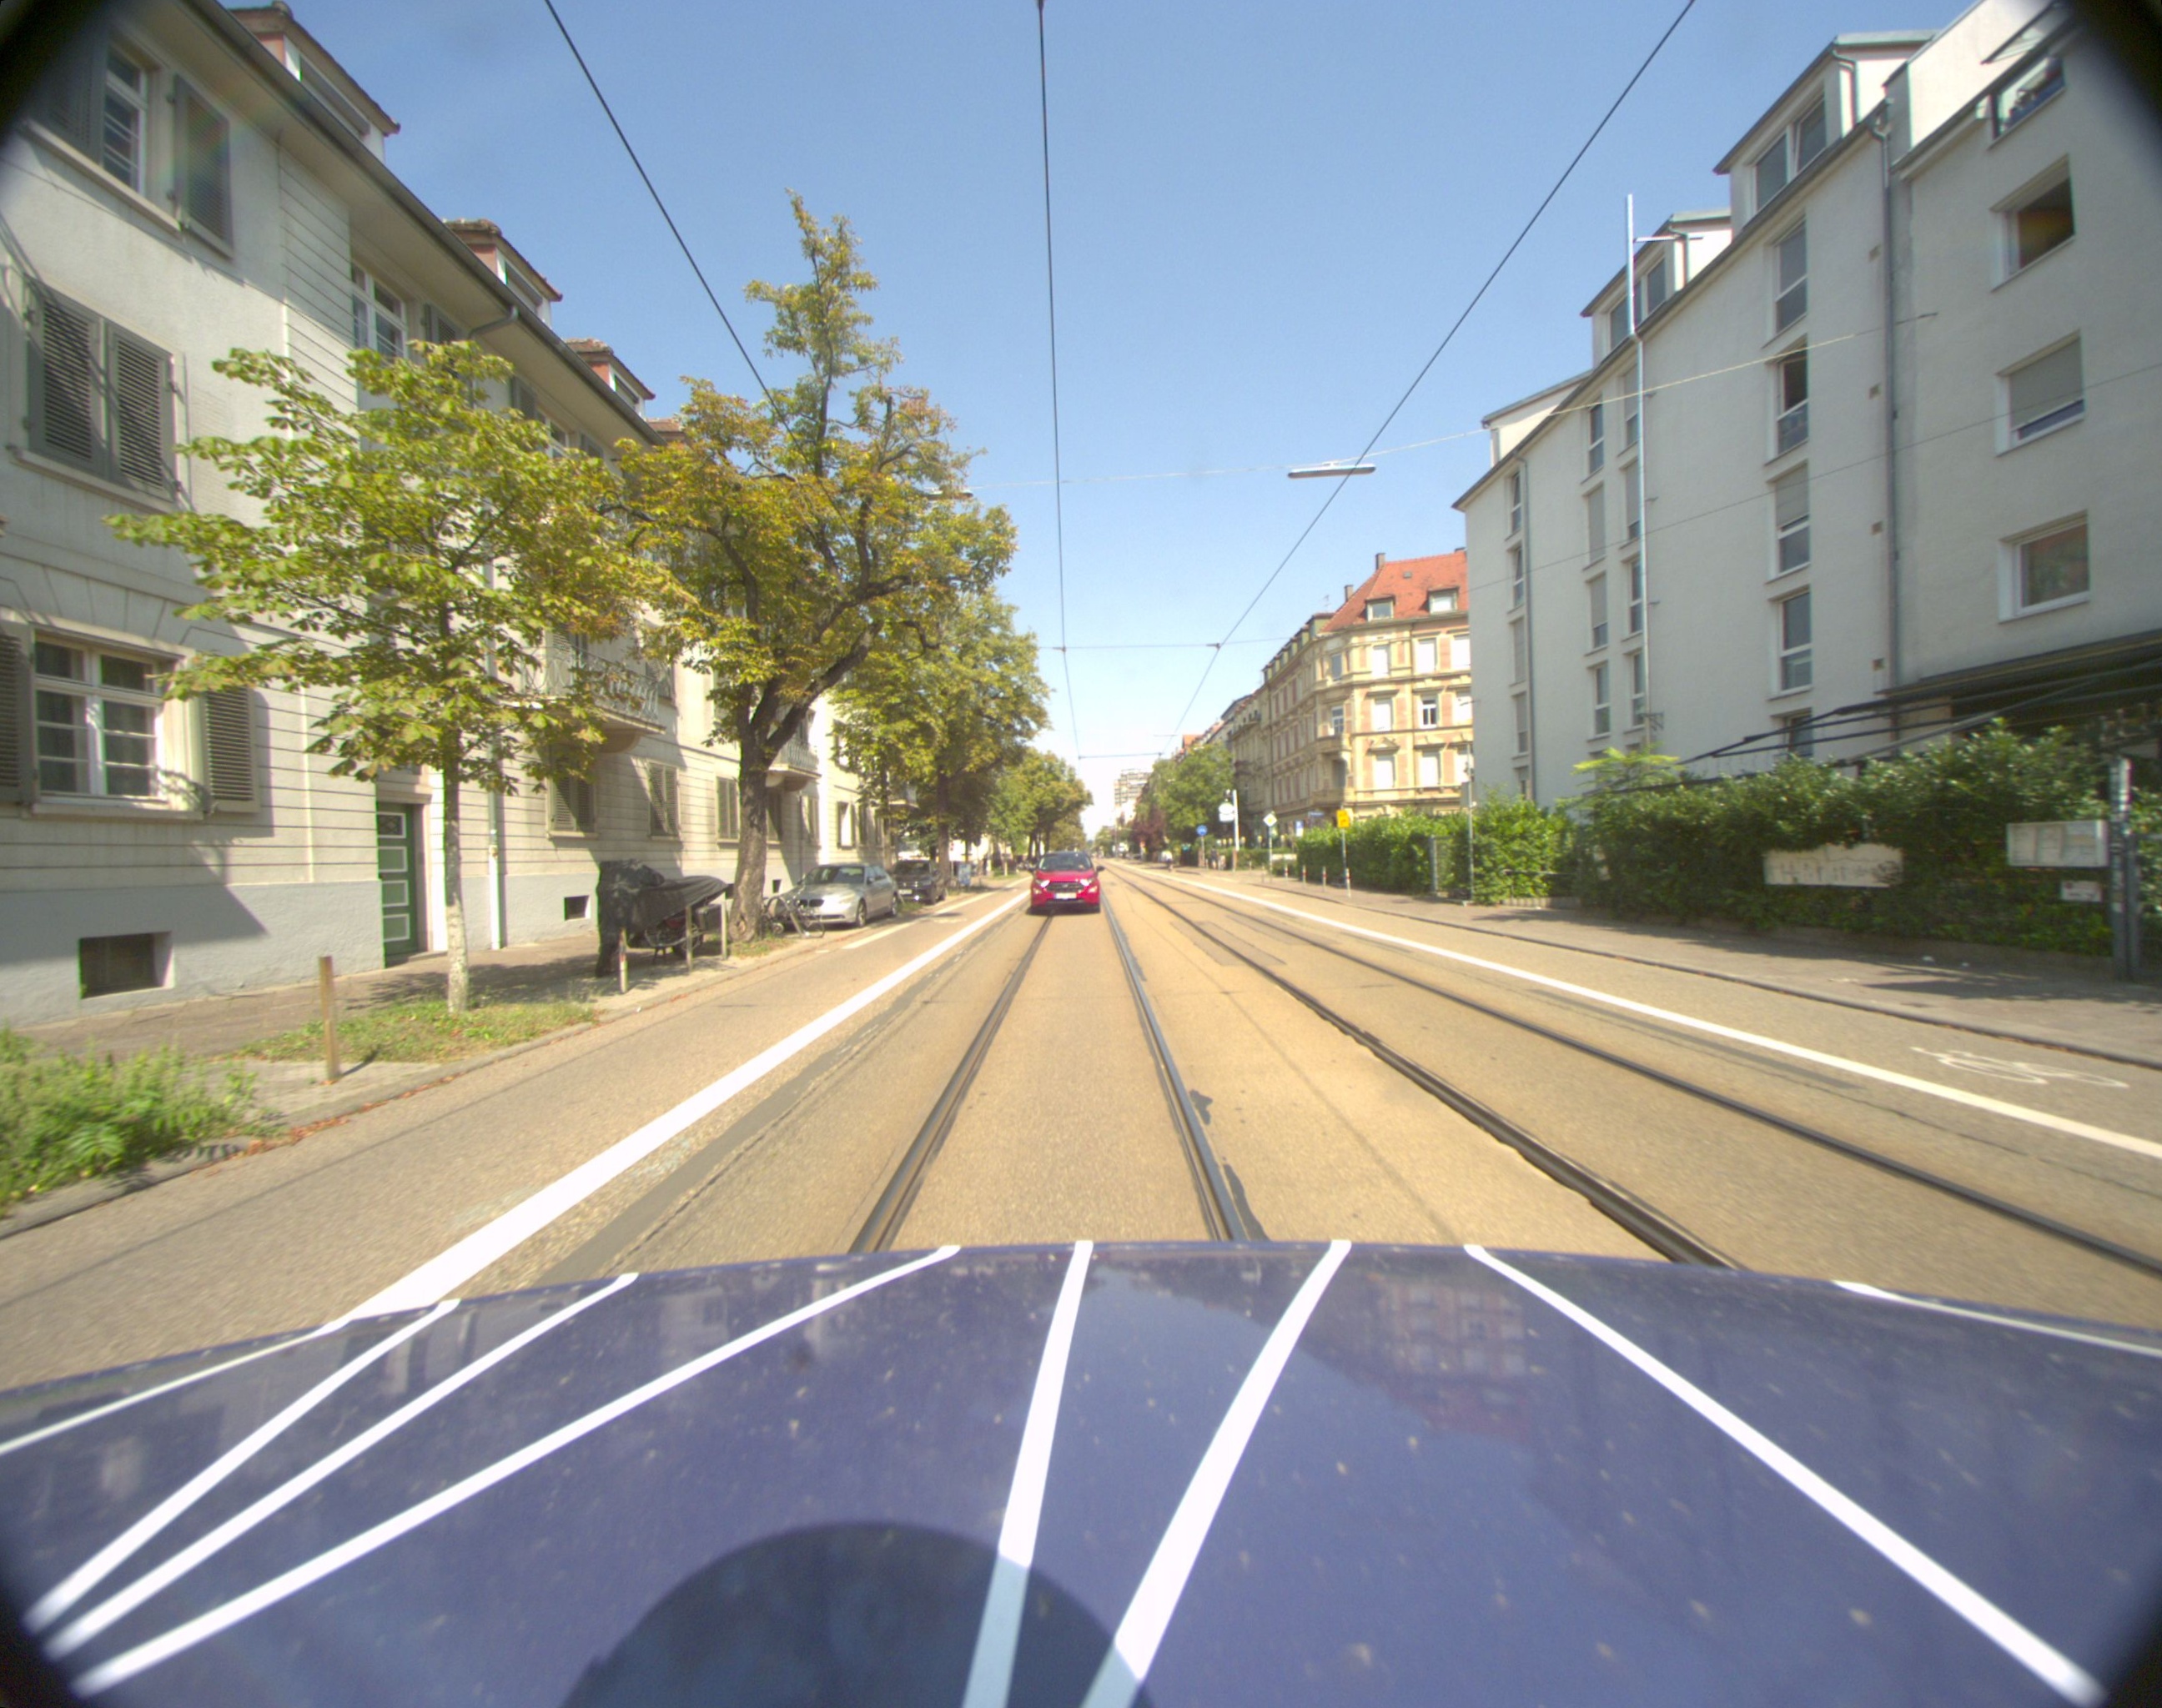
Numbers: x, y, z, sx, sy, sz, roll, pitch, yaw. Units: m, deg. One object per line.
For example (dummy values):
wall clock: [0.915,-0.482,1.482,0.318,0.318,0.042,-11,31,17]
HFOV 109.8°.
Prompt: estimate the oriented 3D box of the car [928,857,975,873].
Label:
car: [-12.466,1.033,72.983,3.990,1.435,1.978,-2,0,23]

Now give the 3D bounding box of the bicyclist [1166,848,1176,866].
bicyclist: [7.256,0.268,61.446,0.657,1.420,0.974,-1,0,-1]

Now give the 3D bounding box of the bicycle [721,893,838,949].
bicycle: [-5.761,1.277,14.567,1.927,0.947,0.721,-2,1,4]

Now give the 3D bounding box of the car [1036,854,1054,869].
car: [-3.775,0.795,81.028,1.598,1.489,4.052,-1,0,1]

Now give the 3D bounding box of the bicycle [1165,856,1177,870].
bicycle: [7.284,0.730,61.409,0.642,1.070,1.915,-1,0,-1]

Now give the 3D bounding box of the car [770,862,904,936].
car: [-5.662,0.965,18.299,1.787,1.442,4.750,-1,0,-2]

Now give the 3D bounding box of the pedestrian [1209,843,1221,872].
pedestrian: [9.544,0.265,54.224,0.657,2.002,0.974,-1,1,-1]

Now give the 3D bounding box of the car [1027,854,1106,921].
car: [-0.284,0.809,20.270,1.815,1.542,4.021,-2,0,2]

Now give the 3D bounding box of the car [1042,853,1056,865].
car: [-4.129,0.671,98.319,1.598,1.489,4.052,-2,0,1]

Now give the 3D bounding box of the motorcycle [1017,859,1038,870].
motorcycle: [-5.354,1.025,75.776,1.999,1.009,0.796,-2,1,0]

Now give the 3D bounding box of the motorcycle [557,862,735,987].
motorcycle: [-6.142,0.924,10.963,0.887,1.544,2.413,-1,1,8]

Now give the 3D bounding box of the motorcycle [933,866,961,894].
motorcycle: [-5.963,1.128,33.845,0.829,1.105,2.497,-2,0,-2]

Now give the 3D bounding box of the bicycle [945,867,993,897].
bicycle: [-4.471,1.112,30.352,1.759,1.116,0.656,-2,1,0]

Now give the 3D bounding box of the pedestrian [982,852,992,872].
pedestrian: [-8.477,0.702,68.604,0.749,1.775,0.632,-2,1,1]

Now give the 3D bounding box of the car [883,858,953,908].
car: [-5.485,0.923,26.016,1.668,1.498,4.433,-1,0,-4]
